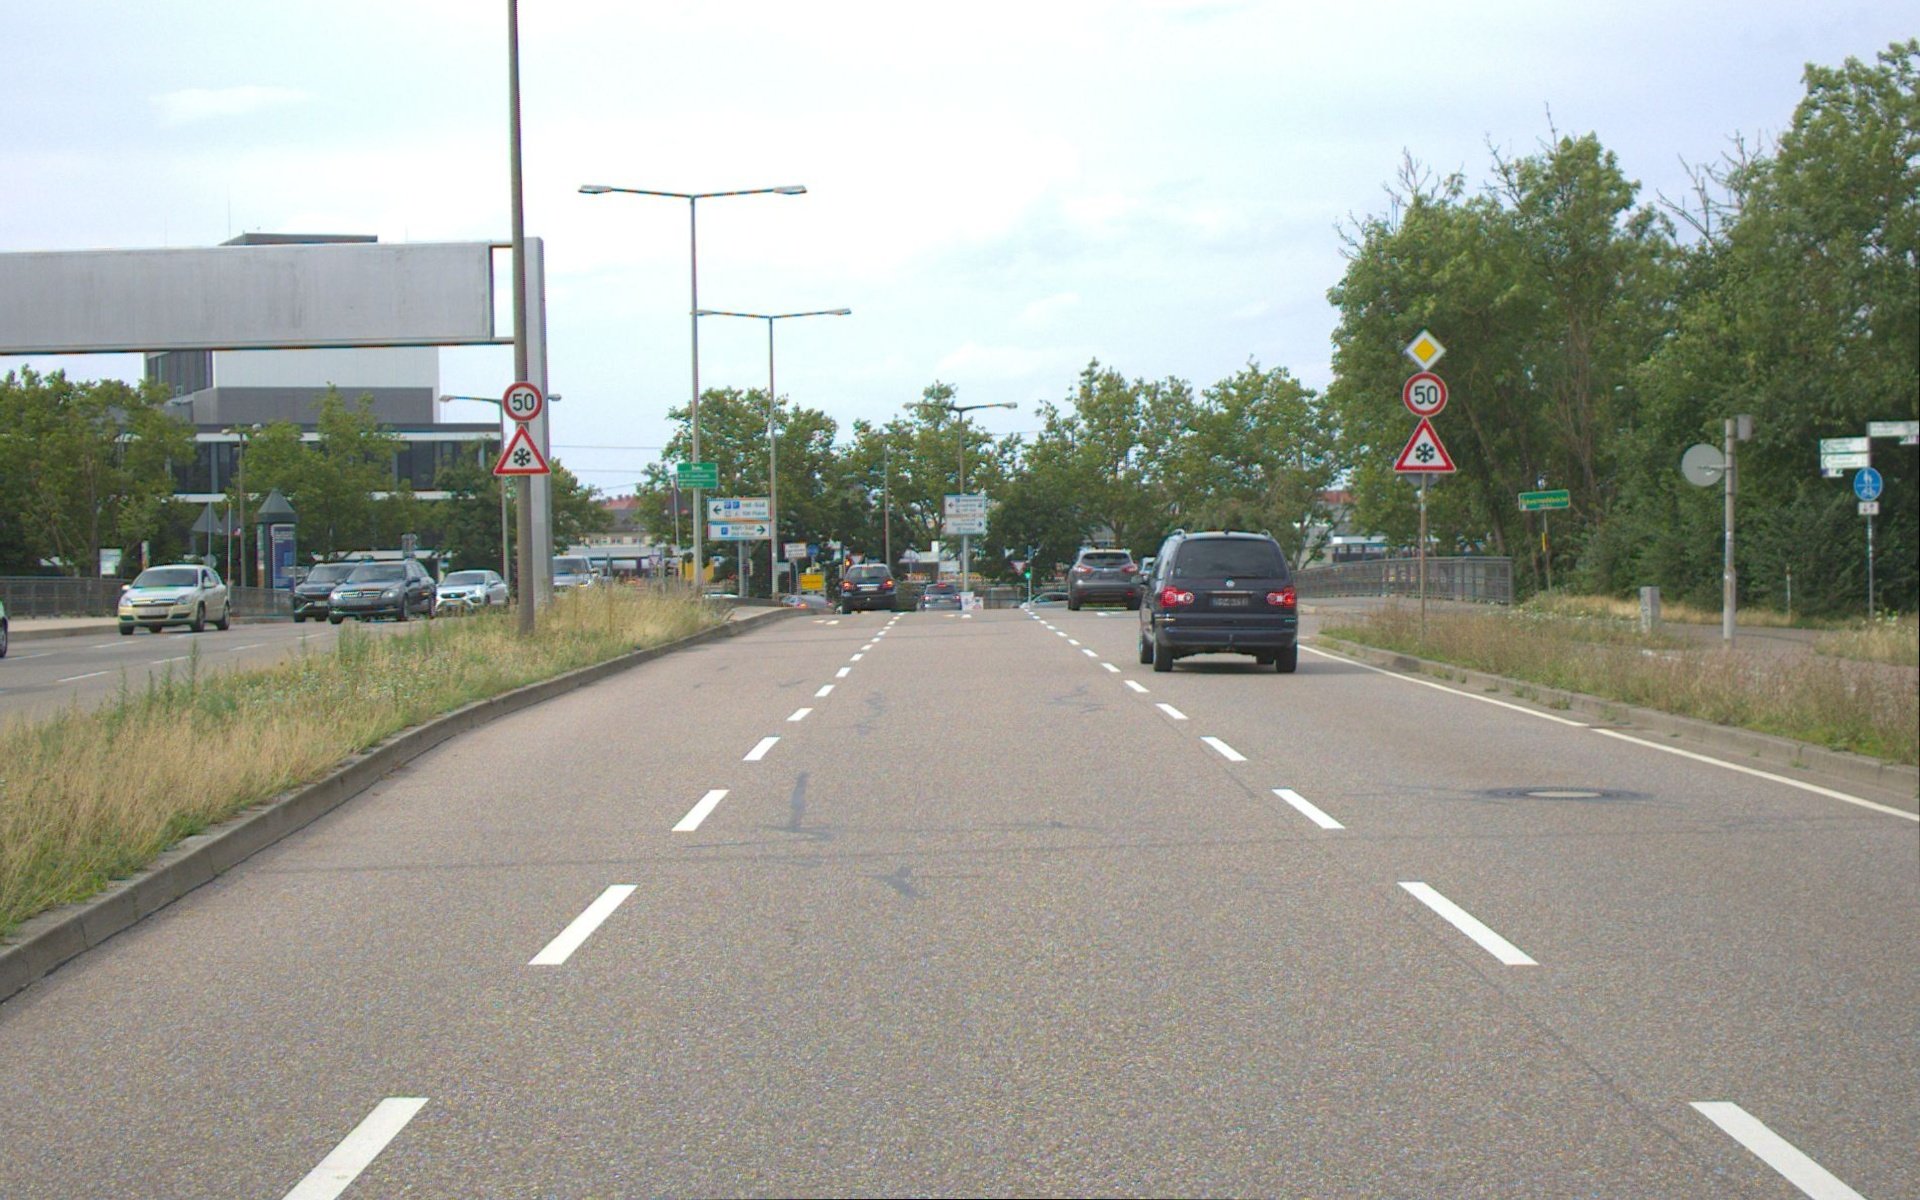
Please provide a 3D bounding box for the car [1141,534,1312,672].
[{"bbox_3d":[3.291,-0.001,43.138,1.730,1.647,4.115,0,1,-1],"label":"car"}]

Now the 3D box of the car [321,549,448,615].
[{"bbox_3d":[-13.410,-0.435,80.370,1.666,1.420,4.518,-3,0,7],"label":"car"}]

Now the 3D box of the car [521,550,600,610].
[{"bbox_3d":[-10.296,-0.529,88.841,1.694,1.481,3.861,-1,1,-2],"label":"car"}]

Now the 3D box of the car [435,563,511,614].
[{"bbox_3d":[-15.567,-0.362,110.052,1.793,1.519,4.188,-3,0,0],"label":"car"}]

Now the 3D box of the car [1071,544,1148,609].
[{"bbox_3d":[3.872,-0.623,89.674,1.730,1.647,4.115,0,1,-1],"label":"car"}]

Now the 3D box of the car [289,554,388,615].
[{"bbox_3d":[-16.732,-0.404,92.733,1.793,1.519,4.594,-3,0,0],"label":"car"}]

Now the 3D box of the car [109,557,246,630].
[{"bbox_3d":[-16.711,-0.152,73.567,1.666,1.414,4.313,-3,0,3],"label":"car"}]

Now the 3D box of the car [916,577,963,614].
[{"bbox_3d":[-0.885,-0.210,147.471,1.730,1.521,4.116,0,1,-4],"label":"car"}]

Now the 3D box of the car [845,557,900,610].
[{"bbox_3d":[-2.814,-0.561,110.519,1.730,1.647,4.115,0,1,-1],"label":"car"}]

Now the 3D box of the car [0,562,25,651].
[{"bbox_3d":[-16.531,0.193,55.092,1.666,1.414,4.092,-2,2,4],"label":"car"}]

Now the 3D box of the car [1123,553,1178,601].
[{"bbox_3d":[6.091,-0.747,110.147,1.507,1.442,3.140,0,2,-2],"label":"car"}]
